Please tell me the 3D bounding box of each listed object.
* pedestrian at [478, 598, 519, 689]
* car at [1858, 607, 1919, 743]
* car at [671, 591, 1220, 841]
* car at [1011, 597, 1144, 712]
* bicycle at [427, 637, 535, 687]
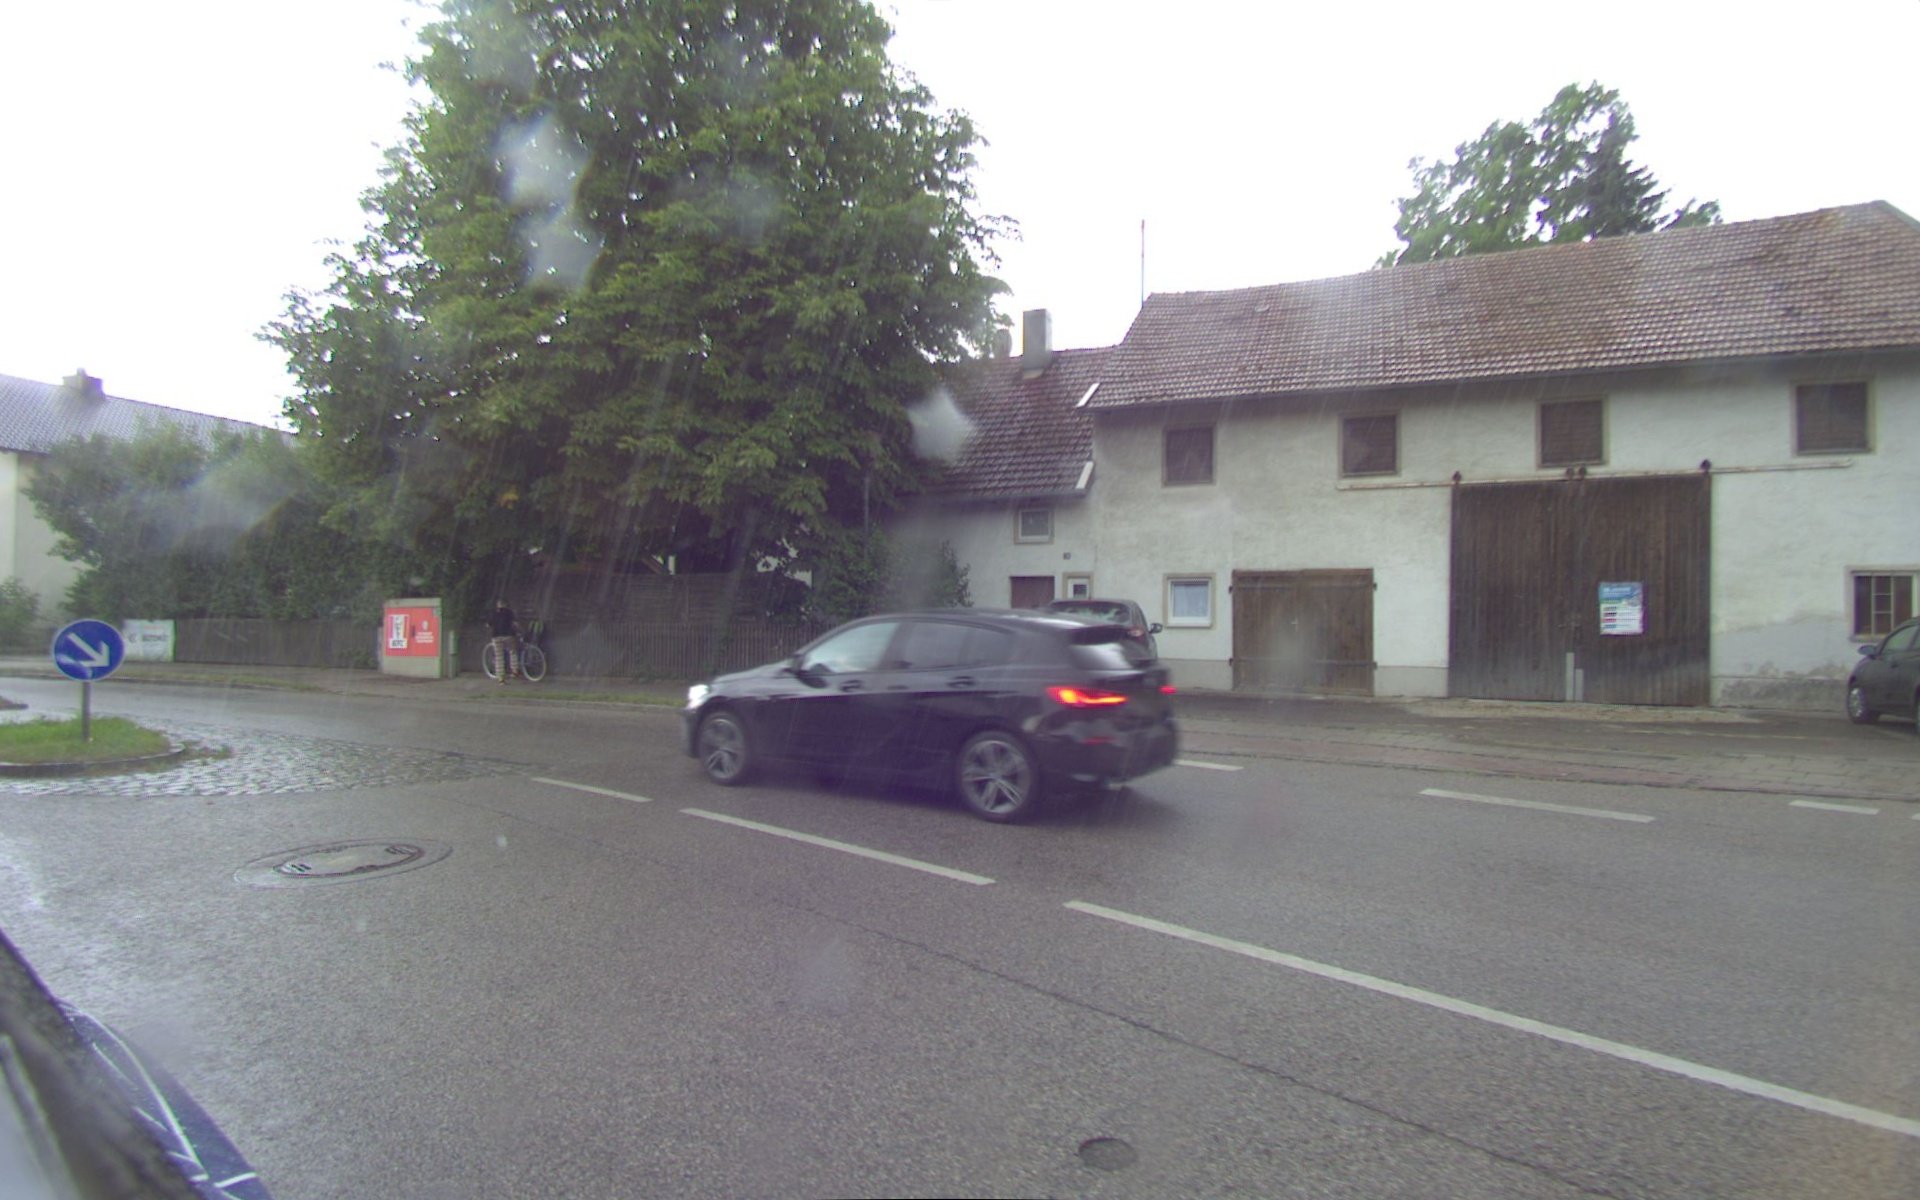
[{"bbox_3d":[-8.547,0.797,18.771,0.642,1.640,0.480,0,-1,-19],"label":"pedestrian"},{"bbox_3d":[12.114,0.831,12.018,1.818,1.447,4.227,-1,-1,37],"label":"car"},{"bbox_3d":[-0.217,0.737,7.980,4.048,1.502,1.797,-1,-1,34],"label":"car"},{"bbox_3d":[1.999,0.850,16.104,1.798,1.560,4.266,0,-3,11],"label":"car"},{"bbox_3d":[-9.265,1.189,19.596,1.853,0.909,0.662,0,-1,10],"label":"bicycle"}]
